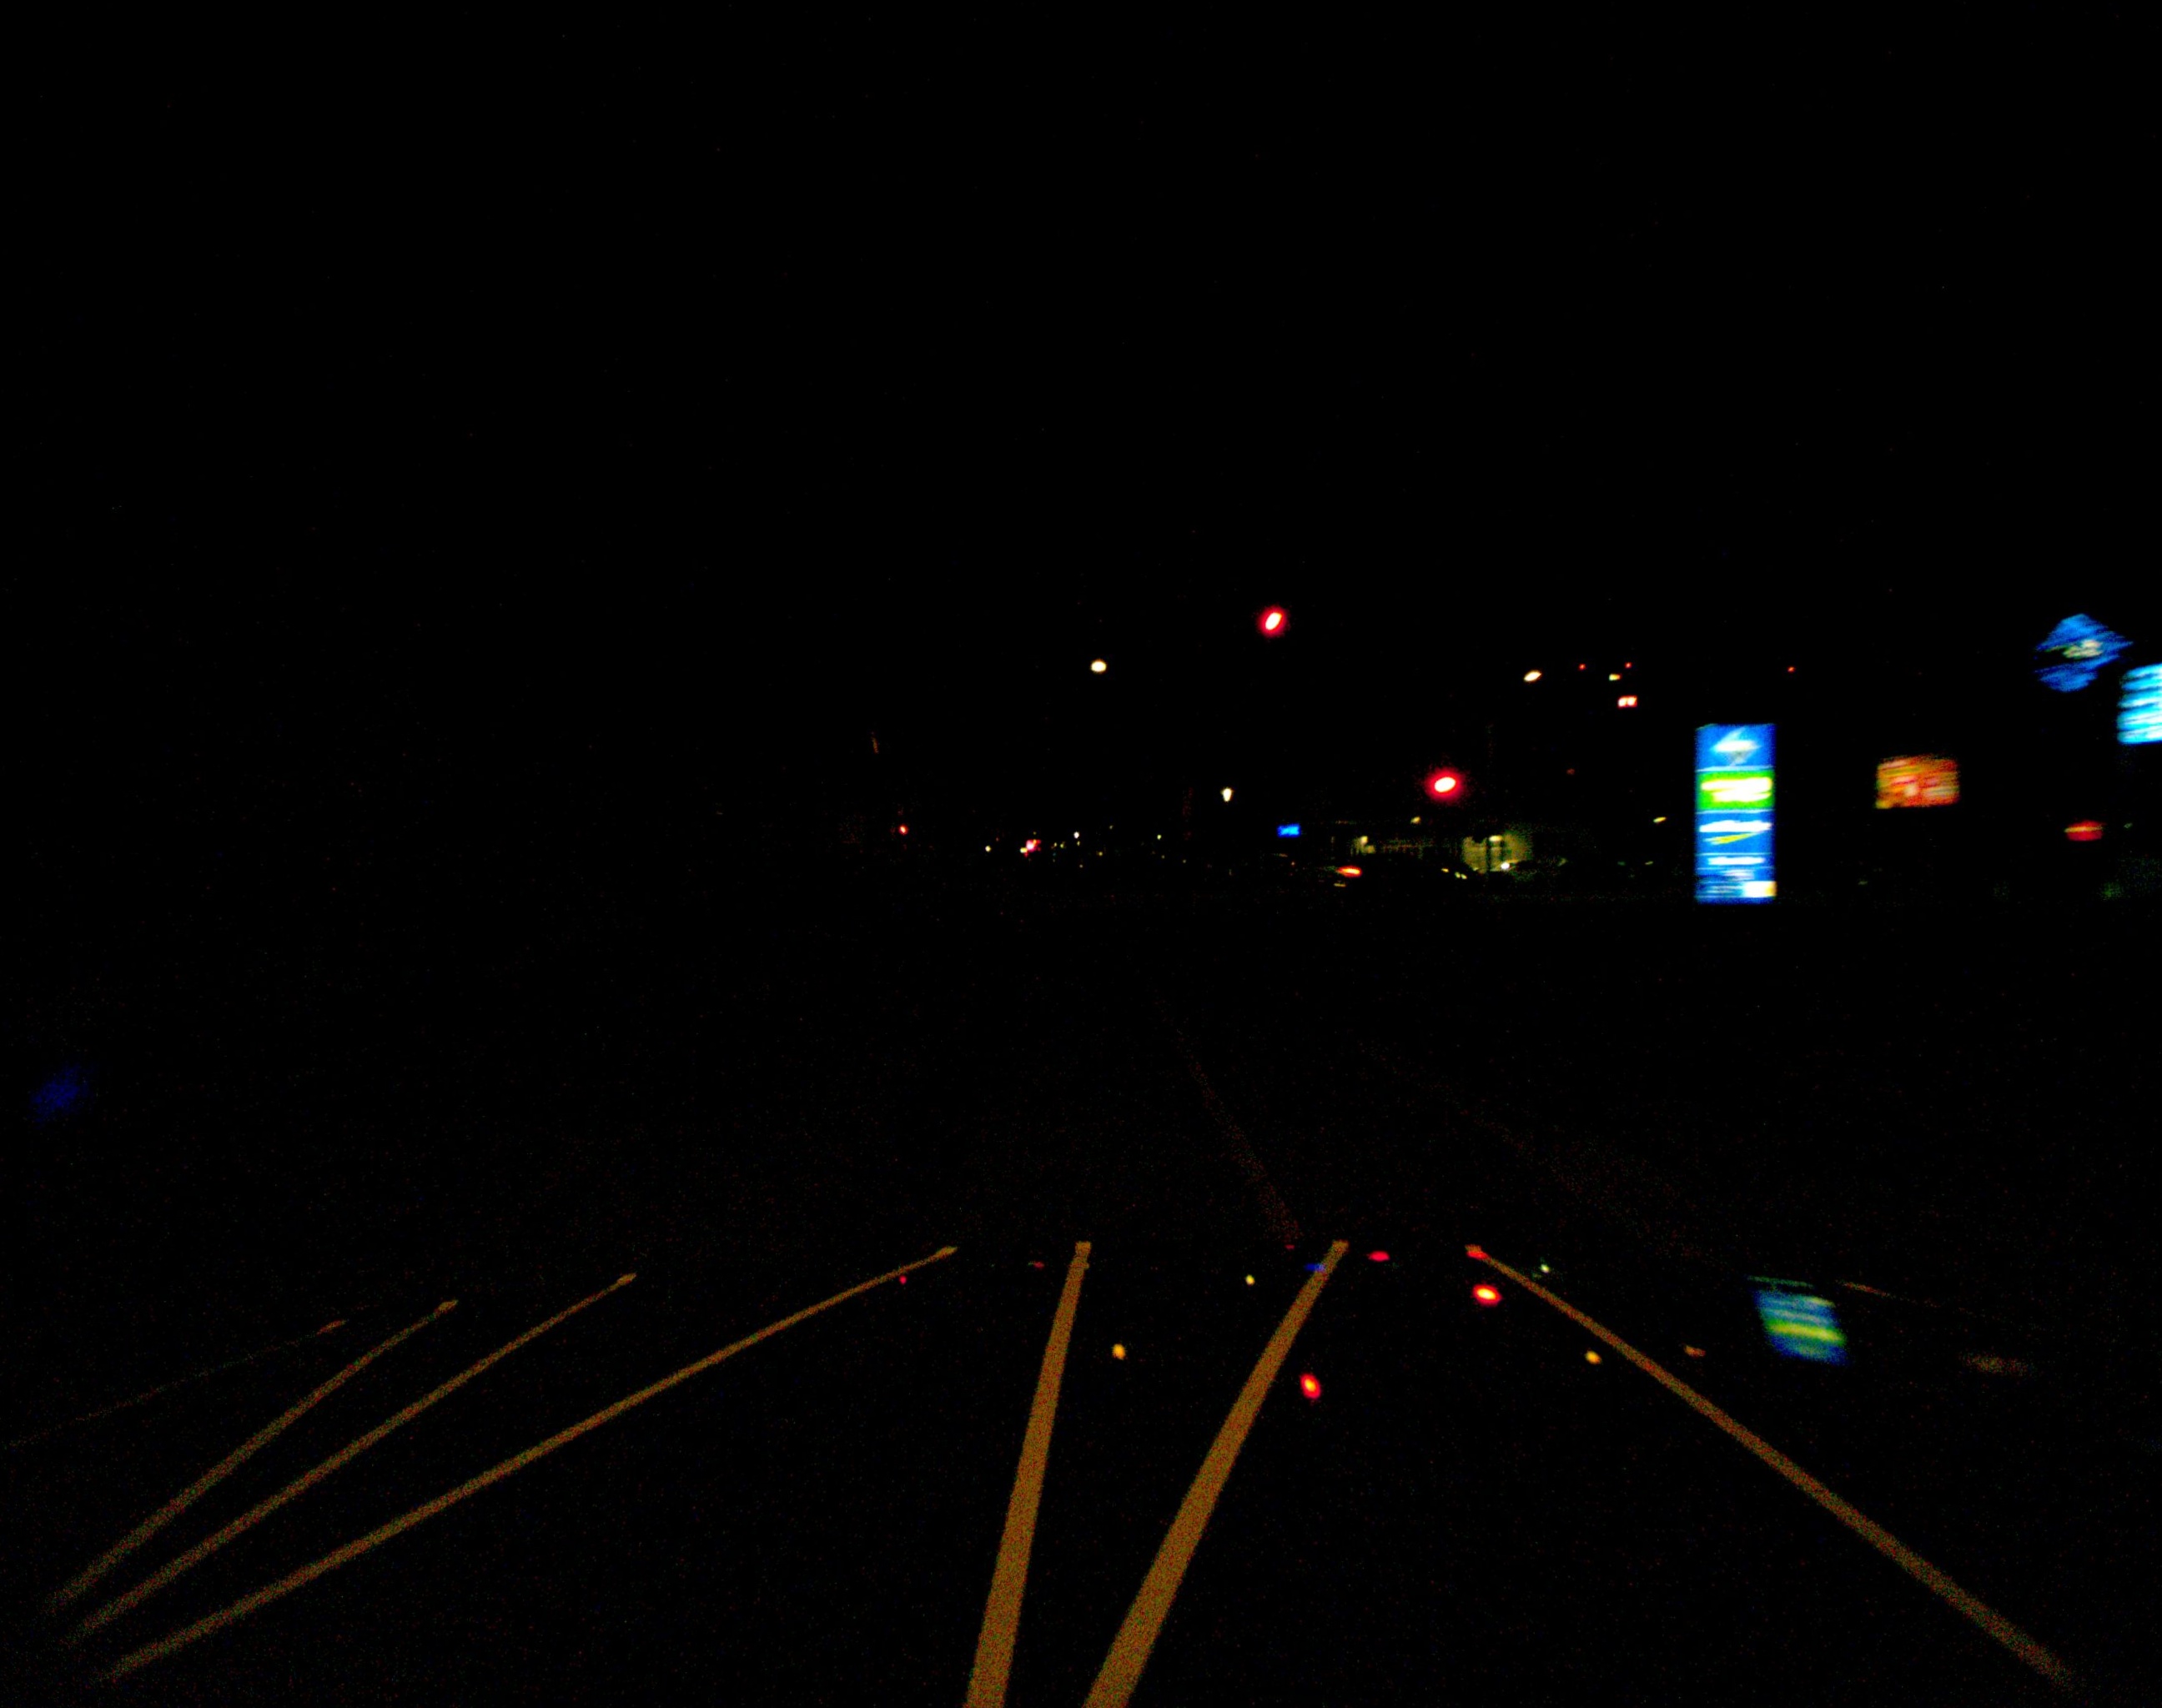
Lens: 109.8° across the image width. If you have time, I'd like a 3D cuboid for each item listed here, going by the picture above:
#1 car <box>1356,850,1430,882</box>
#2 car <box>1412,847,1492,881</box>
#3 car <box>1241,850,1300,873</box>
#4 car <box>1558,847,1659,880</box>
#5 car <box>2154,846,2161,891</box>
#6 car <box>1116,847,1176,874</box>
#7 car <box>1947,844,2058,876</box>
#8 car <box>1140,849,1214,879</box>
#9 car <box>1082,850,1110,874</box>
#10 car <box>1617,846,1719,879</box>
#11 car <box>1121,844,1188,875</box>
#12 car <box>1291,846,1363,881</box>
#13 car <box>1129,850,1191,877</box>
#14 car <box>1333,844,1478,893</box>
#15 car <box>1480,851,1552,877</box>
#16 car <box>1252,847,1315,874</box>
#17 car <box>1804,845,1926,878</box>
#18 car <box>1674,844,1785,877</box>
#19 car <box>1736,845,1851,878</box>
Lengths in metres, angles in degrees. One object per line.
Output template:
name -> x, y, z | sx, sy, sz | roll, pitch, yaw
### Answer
car -> 15.068, 0.526, 36.892 | 1.864, 1.452, 4.069 | 0, 0, -1
car -> 18.013, 0.451, 37.105 | 1.864, 1.544, 4.069 | -1, 0, -1
car -> 12.866, 0.502, 51.694 | 3.576, 1.577, 1.634 | 0, 1, -2
car -> 25.570, 0.434, 37.015 | 1.864, 1.469, 4.353 | -1, 0, -1
car -> 35.735, 0.484, 23.104 | 3.851, 1.403, 1.736 | 1, 0, -2
car -> 4.318, 0.431, 50.866 | 3.848, 1.781, 1.633 | 0, 1, -3
car -> 47.315, 0.283, 39.114 | 1.609, 1.492, 3.413 | -2, 0, 0
car -> 5.180, 0.521, 41.249 | 3.763, 1.577, 1.633 | 0, 1, -3
car -> 1.041, 0.552, 55.130 | 1.936, 1.646, 3.832 | 0, 1, -1
car -> 28.257, 0.392, 36.731 | 1.732, 1.469, 4.086 | -1, 0, -1
car -> 4.694, 0.339, 48.589 | 4.055, 1.879, 1.633 | 0, 1, -3
car -> 11.909, 0.417, 37.123 | 1.999, 1.548, 4.386 | -1, 0, -1
car -> 4.767, 0.554, 46.193 | 3.576, 1.619, 1.620 | 0, 1, -3
car -> 11.286, 0.492, 26.614 | 4.312, 1.550, 1.686 | -1, 1, 2
car -> 26.381, 0.563, 46.082 | 4.281, 1.469, 1.729 | -1, 1, -28
car -> 12.837, 0.407, 48.252 | 3.575, 1.690, 1.634 | 0, 1, 0
car -> 37.489, 0.327, 36.472 | 1.765, 1.469, 3.957 | -1, 0, -1
car -> 31.330, 0.282, 36.874 | 1.864, 1.469, 4.086 | -1, 0, -1
car -> 34.542, 0.325, 36.979 | 1.781, 1.469, 4.026 | -1, 0, -1
